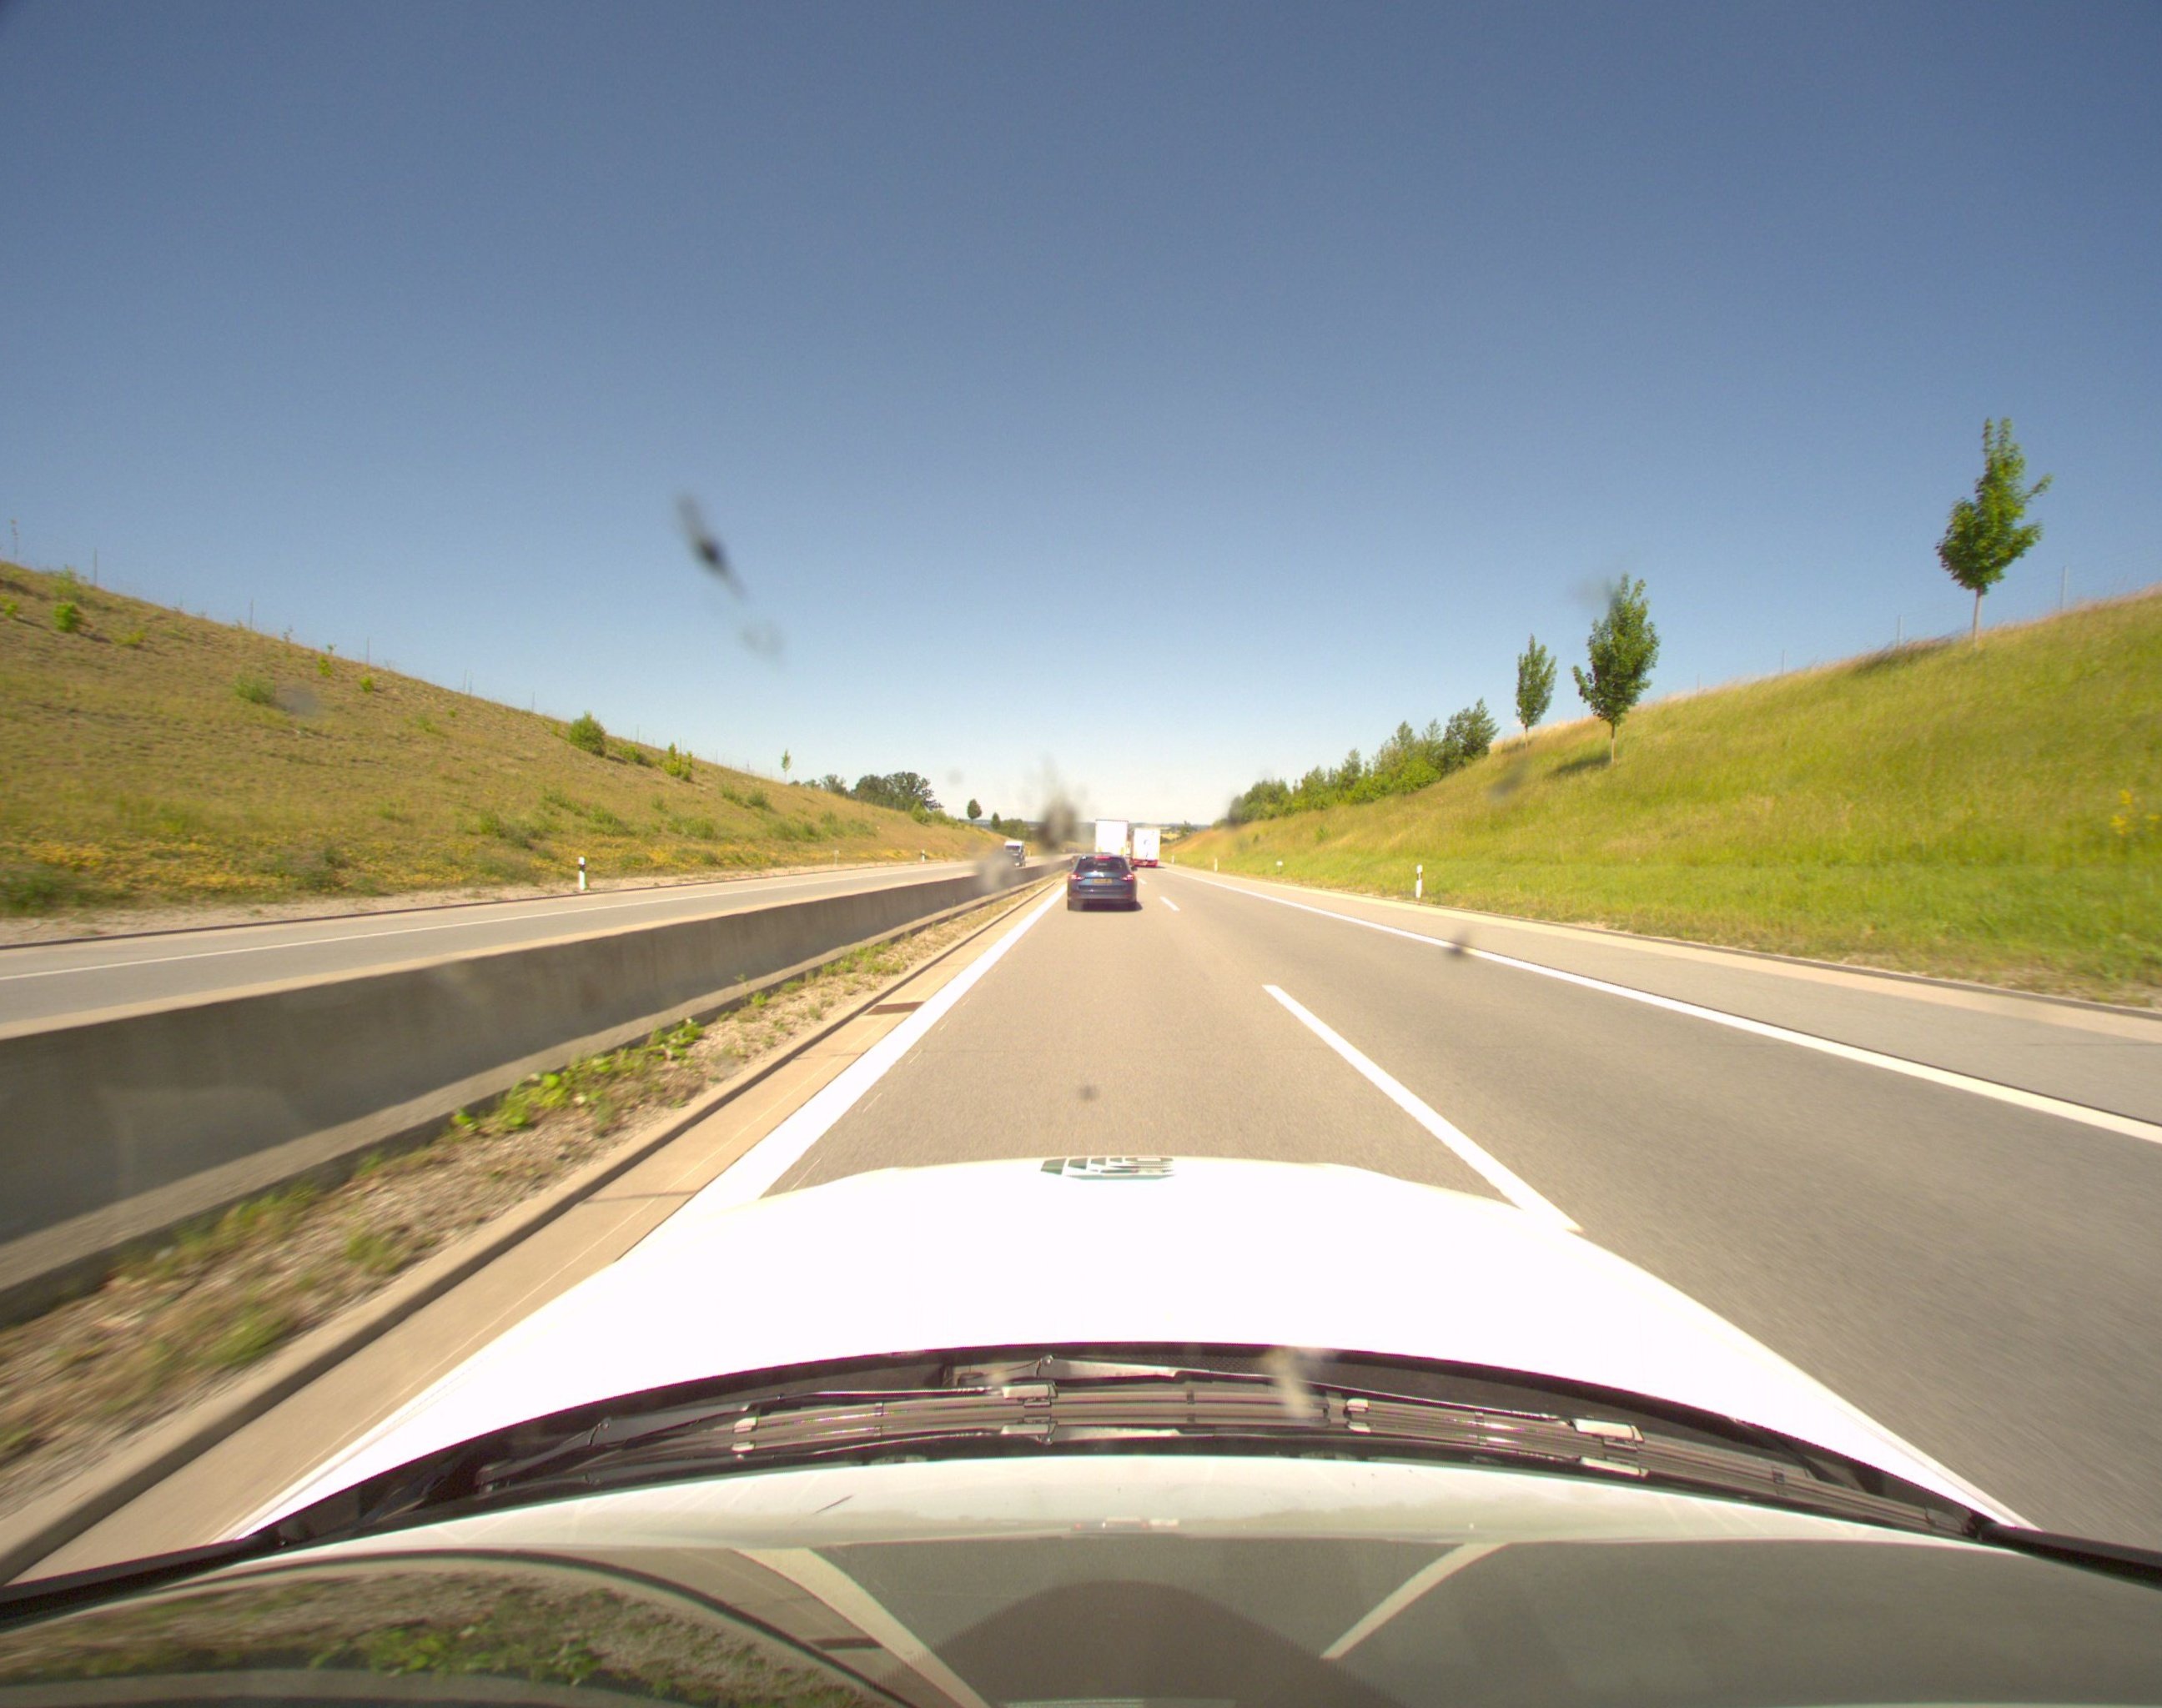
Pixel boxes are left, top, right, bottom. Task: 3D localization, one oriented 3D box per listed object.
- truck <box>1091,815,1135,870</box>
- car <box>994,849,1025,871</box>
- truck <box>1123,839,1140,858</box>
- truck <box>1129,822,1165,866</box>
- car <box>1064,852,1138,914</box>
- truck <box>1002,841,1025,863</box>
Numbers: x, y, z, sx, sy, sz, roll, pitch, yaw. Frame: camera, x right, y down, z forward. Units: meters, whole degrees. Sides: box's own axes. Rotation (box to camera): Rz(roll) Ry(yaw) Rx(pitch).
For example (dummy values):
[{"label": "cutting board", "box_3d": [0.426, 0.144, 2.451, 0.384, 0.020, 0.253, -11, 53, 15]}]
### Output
[{"label": "truck", "box_3d": [2.875, -0.925, 70.160, 3.195, 4.381, 11.249, 0, 0, 5]}, {"label": "car", "box_3d": [-4.932, 0.417, 56.836, 1.768, 1.449, 4.183, 0, 0, 0]}, {"label": "truck", "box_3d": [11.988, -1.367, 192.470, 3.587, 4.381, 11.248, 0, 0, 5]}, {"label": "truck", "box_3d": [7.011, -1.003, 86.760, 3.587, 4.381, 11.248, 0, 0, 5]}, {"label": "car", "box_3d": [0.513, 0.701, 21.681, 1.770, 1.441, 3.789, -1, 0, 1]}, {"label": "truck", "box_3d": [-7.794, -0.251, 94.512, 1.986, 2.448, 5.670, 1, 0, 1]}]
